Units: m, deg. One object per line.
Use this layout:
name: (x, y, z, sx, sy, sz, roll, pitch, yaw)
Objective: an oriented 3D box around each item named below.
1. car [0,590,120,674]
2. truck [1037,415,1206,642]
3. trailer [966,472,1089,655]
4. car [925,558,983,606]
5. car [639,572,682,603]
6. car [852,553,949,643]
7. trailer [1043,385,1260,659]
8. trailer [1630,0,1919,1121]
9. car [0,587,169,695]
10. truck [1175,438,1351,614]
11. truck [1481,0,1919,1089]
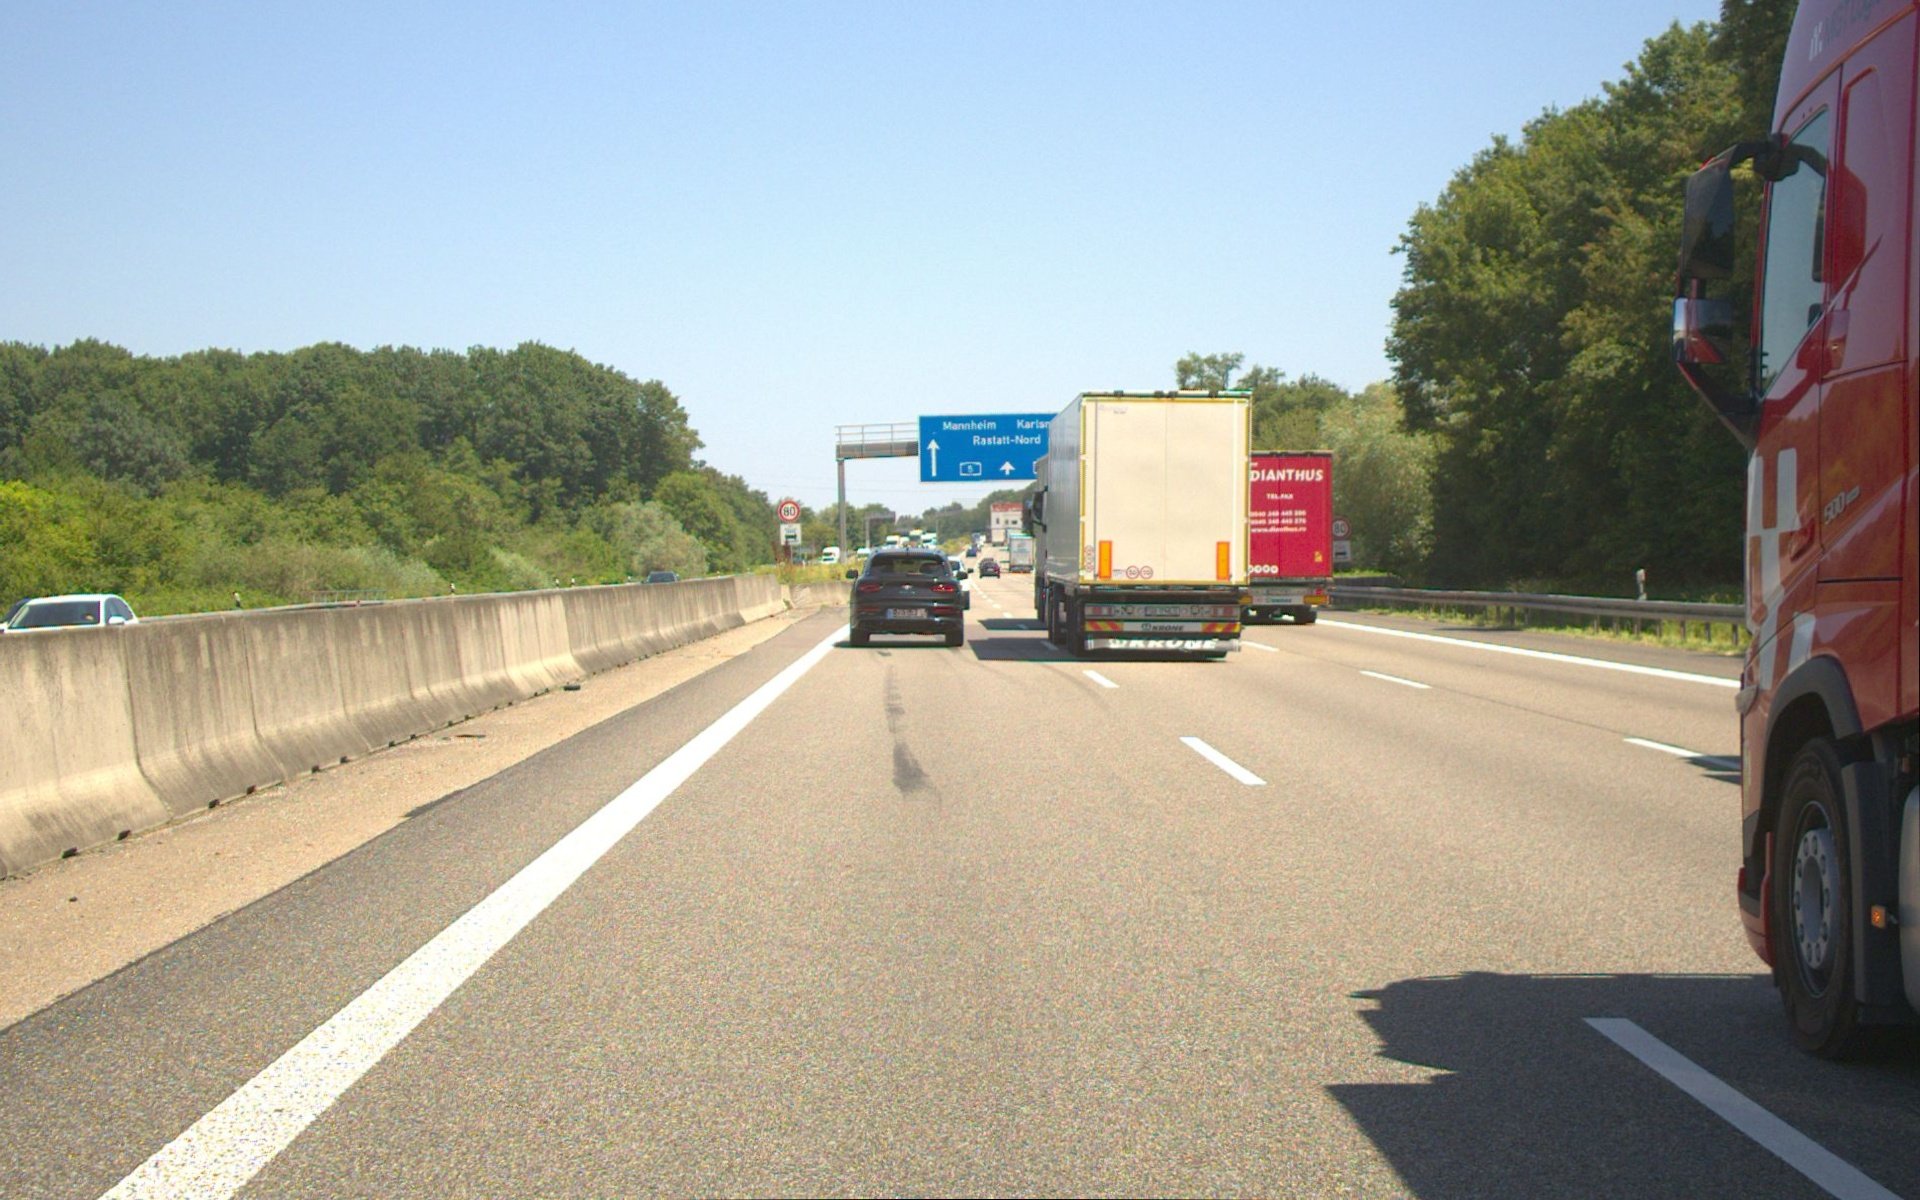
car: (-18.071, 0.618, 67.551, 1.908, 1.474, 4.825, -3, 1, -1)
truck: (2.918, -1.302, 63.579, 2.800, 3.993, 6.021, 0, 1, 0)
trailer: (1.542, -0.843, 83.639, 2.708, 4.054, 14.746, 0, 0, 0)
car: (-0.166, -0.569, 106.860, 1.740, 1.481, 4.000, 0, 1, 1)
car: (-14.920, -0.622, 171.590, 1.769, 1.466, 4.000, -1, 1, 0)
car: (-1.051, -0.059, 60.920, 1.660, 1.544, 3.783, 0, 1, -1)
trailer: (2.963, -1.223, 56.743, 2.795, 4.021, 12.568, 0, 1, 0)
trailer: (3.955, -0.641, 3.878, 2.937, 4.004, 16.201, 1, 1, -1)
car: (-13.982, 0.622, 54.560, 1.773, 1.533, 4.684, -2, 1, -1)
truck: (7.523, -1.796, 87.246, 3.055, 4.092, 13.219, 1, 1, -1)
truck: (3.825, -0.727, 12.042, 2.941, 3.972, 6.102, 1, 1, -1)
